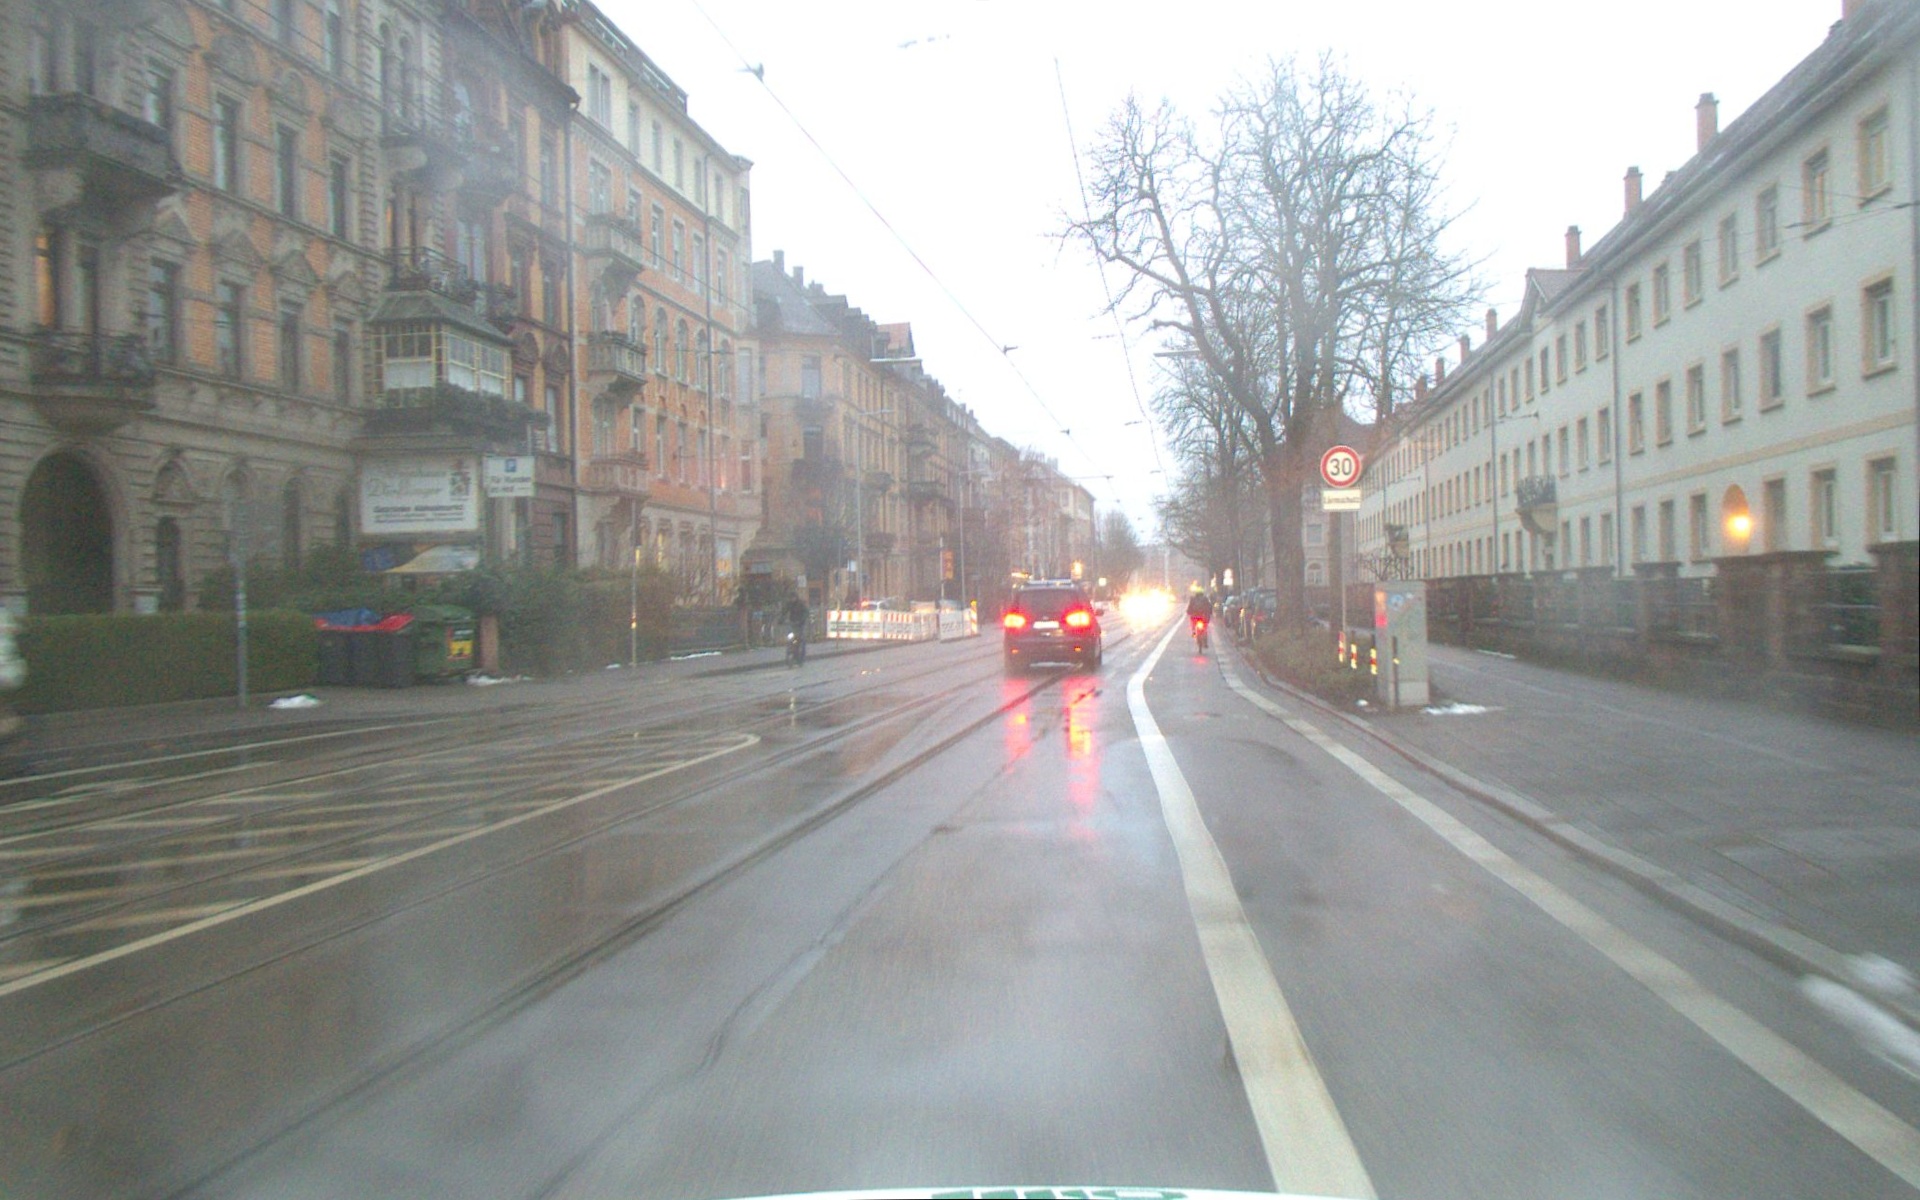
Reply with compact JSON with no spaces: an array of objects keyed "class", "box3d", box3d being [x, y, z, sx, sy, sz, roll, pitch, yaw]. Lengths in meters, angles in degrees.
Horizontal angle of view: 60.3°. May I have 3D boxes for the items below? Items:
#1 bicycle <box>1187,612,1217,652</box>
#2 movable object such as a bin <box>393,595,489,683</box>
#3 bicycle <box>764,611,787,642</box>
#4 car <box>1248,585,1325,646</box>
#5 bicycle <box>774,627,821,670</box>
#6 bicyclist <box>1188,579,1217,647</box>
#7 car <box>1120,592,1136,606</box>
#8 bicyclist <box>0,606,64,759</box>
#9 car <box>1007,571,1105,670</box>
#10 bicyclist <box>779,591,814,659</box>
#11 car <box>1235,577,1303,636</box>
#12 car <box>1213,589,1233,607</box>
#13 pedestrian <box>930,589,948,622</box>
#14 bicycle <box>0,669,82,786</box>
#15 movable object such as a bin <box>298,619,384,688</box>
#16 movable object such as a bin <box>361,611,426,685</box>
[{"class":"bicycle","box3d":[6.413,0.842,43.787,0.716,1.024,1.765,-1,0,9]},{"class":"movable object such as a bin","box3d":[-9.743,0.717,31.117,1.217,1.613,1.309,0,0,13]},{"class":"bicycle","box3d":[-5.919,0.834,53.002,0.257,0.931,1.687,4,1,8]},{"class":"car","box3d":[8.674,0.392,44.213,1.747,1.536,3.991,-1,0,8]},{"class":"bicycle","box3d":[-4.016,1.196,40.964,0.664,0.989,1.935,-1,0,9]},{"class":"bicyclist","box3d":[6.417,0.337,43.829,0.715,1.767,0.766,-1,0,9]},{"class":"car","box3d":[21.464,-0.129,211.385,1.882,1.750,4.003,-1,0,8]},{"class":"bicyclist","box3d":[-9.072,0.759,15.545,0.689,1.388,0.945,1,0,9]},{"class":"car","box3d":[2.060,0.383,34.382,1.763,1.903,4.021,1,0,7]},{"class":"bicyclist","box3d":[-4.031,0.612,40.892,0.669,1.644,0.766,-1,0,9]},{"class":"car","box3d":[9.859,0.182,53.031,1.865,1.758,4.906,-1,0,8]},{"class":"car","box3d":[23.506,-0.188,147.883,1.747,1.536,4.112,-1,0,8]},{"class":"pedestrian","box3d":[-1.161,0.290,91.496,0.711,1.804,0.763,-1,0,-30]},{"class":"bicycle","box3d":[-9.097,1.195,15.397,0.667,1.024,1.804,-1,0,9]},{"class":"movable object such as a bin","box3d":[-11.402,0.975,30.488,1.159,1.228,0.946,-1,0,6]},{"class":"movable object such as a bin","box3d":[-10.359,0.873,30.257,0.876,1.315,0.747,-1,0,6]}]
